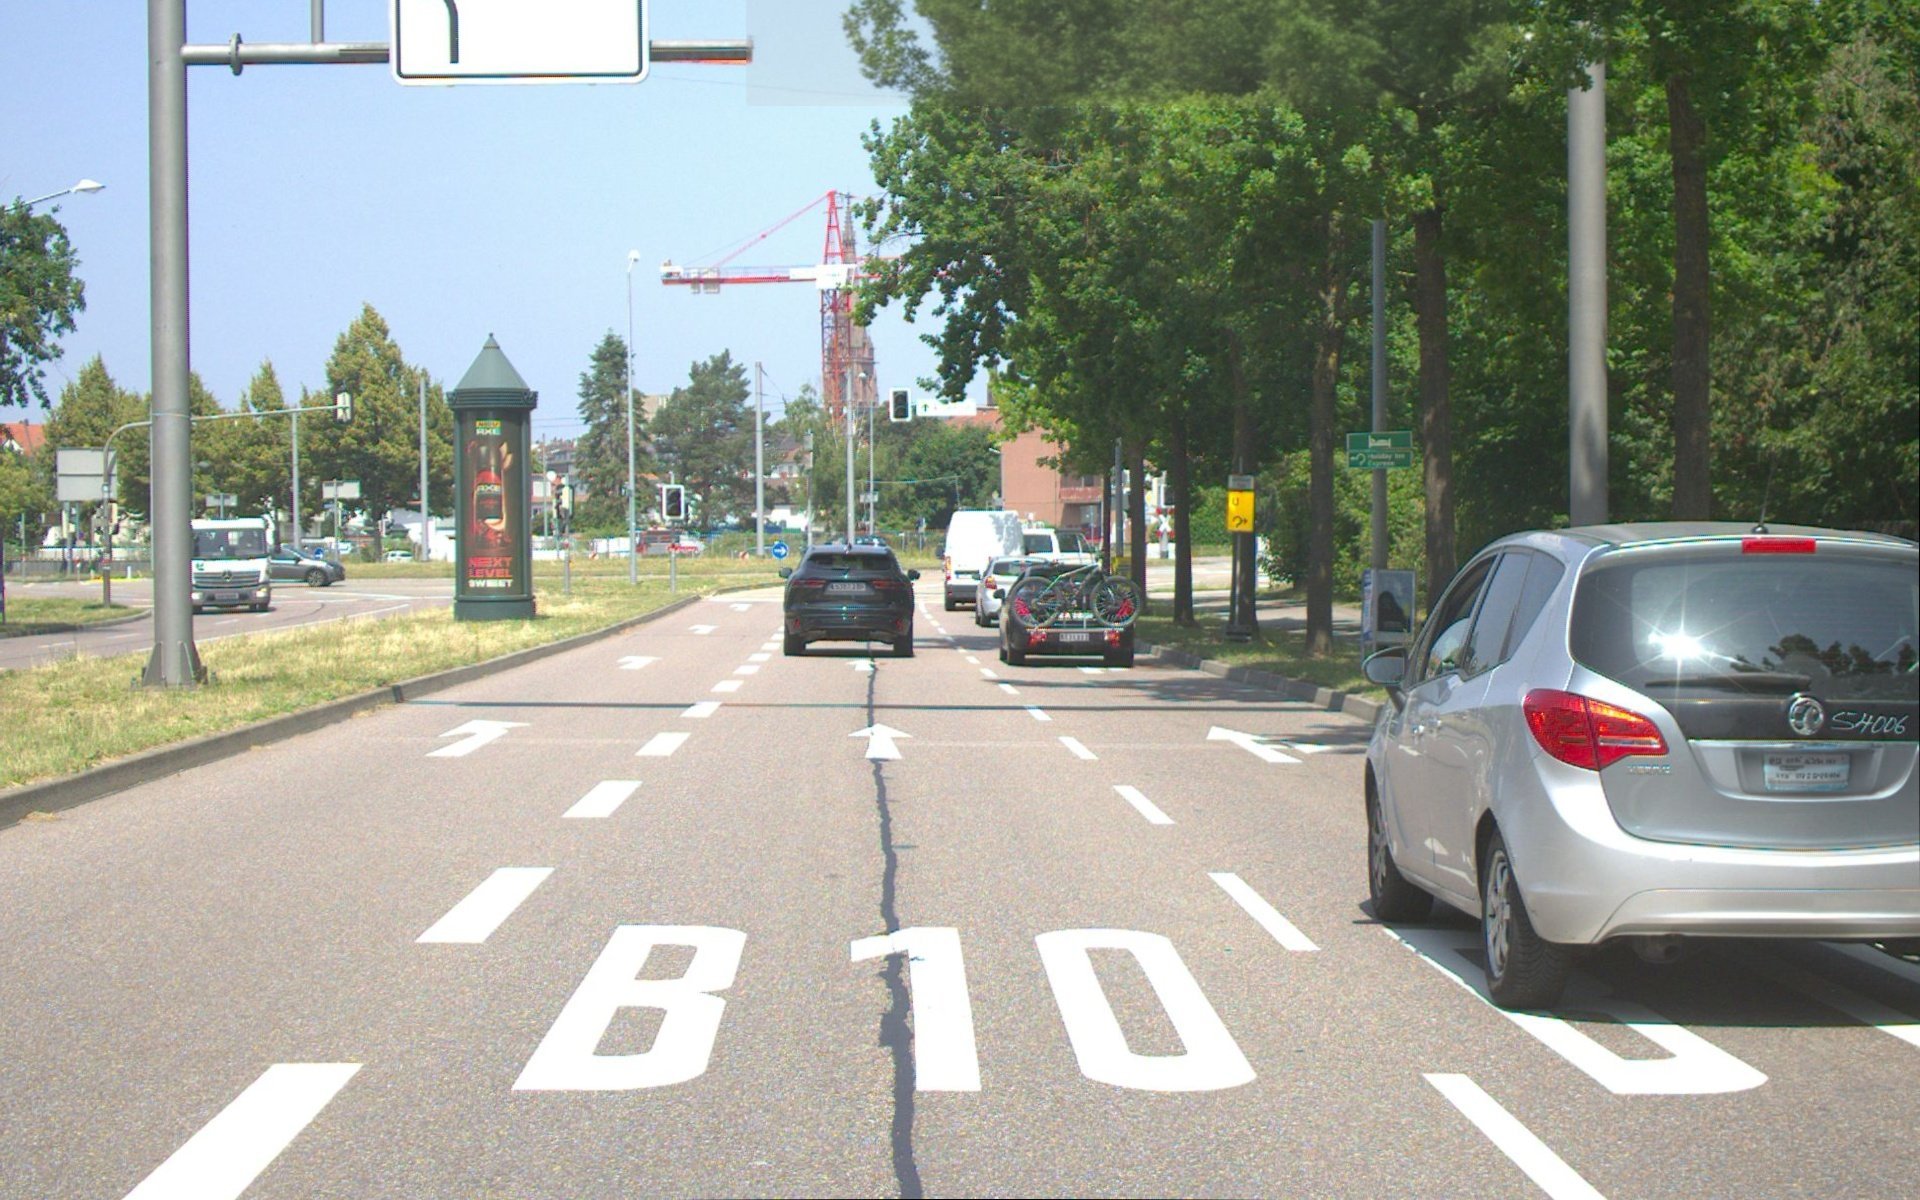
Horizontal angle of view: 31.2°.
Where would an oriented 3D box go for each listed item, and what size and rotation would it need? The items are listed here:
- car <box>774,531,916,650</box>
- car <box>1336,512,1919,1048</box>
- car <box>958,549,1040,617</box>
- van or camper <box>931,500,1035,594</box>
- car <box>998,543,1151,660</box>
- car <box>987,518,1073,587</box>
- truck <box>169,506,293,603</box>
[{"bbox_3d":[-1.689,-0.178,51.900,1.998,1.683,4.034,1,2,0],"label":"car"},{"bbox_3d":[2.526,0.502,12.368,1.792,1.606,3.891,1,2,-2],"label":"car"},{"bbox_3d":[0.802,-0.383,72.671,1.654,1.351,4.461,-1,1,0],"label":"car"},{"bbox_3d":[0.547,-1.366,87.473,2.493,2.283,4.921,-1,1,-1],"label":"van or camper"},{"bbox_3d":[1.553,-0.015,48.150,2.014,1.512,4.461,-1,1,0],"label":"car"},{"bbox_3d":[2.104,-1.419,102.474,1.994,2.007,3.999,0,1,9],"label":"car"},{"bbox_3d":[-20.172,-1.272,95.405,2.638,2.568,6.319,-1,1,-5],"label":"truck"}]
